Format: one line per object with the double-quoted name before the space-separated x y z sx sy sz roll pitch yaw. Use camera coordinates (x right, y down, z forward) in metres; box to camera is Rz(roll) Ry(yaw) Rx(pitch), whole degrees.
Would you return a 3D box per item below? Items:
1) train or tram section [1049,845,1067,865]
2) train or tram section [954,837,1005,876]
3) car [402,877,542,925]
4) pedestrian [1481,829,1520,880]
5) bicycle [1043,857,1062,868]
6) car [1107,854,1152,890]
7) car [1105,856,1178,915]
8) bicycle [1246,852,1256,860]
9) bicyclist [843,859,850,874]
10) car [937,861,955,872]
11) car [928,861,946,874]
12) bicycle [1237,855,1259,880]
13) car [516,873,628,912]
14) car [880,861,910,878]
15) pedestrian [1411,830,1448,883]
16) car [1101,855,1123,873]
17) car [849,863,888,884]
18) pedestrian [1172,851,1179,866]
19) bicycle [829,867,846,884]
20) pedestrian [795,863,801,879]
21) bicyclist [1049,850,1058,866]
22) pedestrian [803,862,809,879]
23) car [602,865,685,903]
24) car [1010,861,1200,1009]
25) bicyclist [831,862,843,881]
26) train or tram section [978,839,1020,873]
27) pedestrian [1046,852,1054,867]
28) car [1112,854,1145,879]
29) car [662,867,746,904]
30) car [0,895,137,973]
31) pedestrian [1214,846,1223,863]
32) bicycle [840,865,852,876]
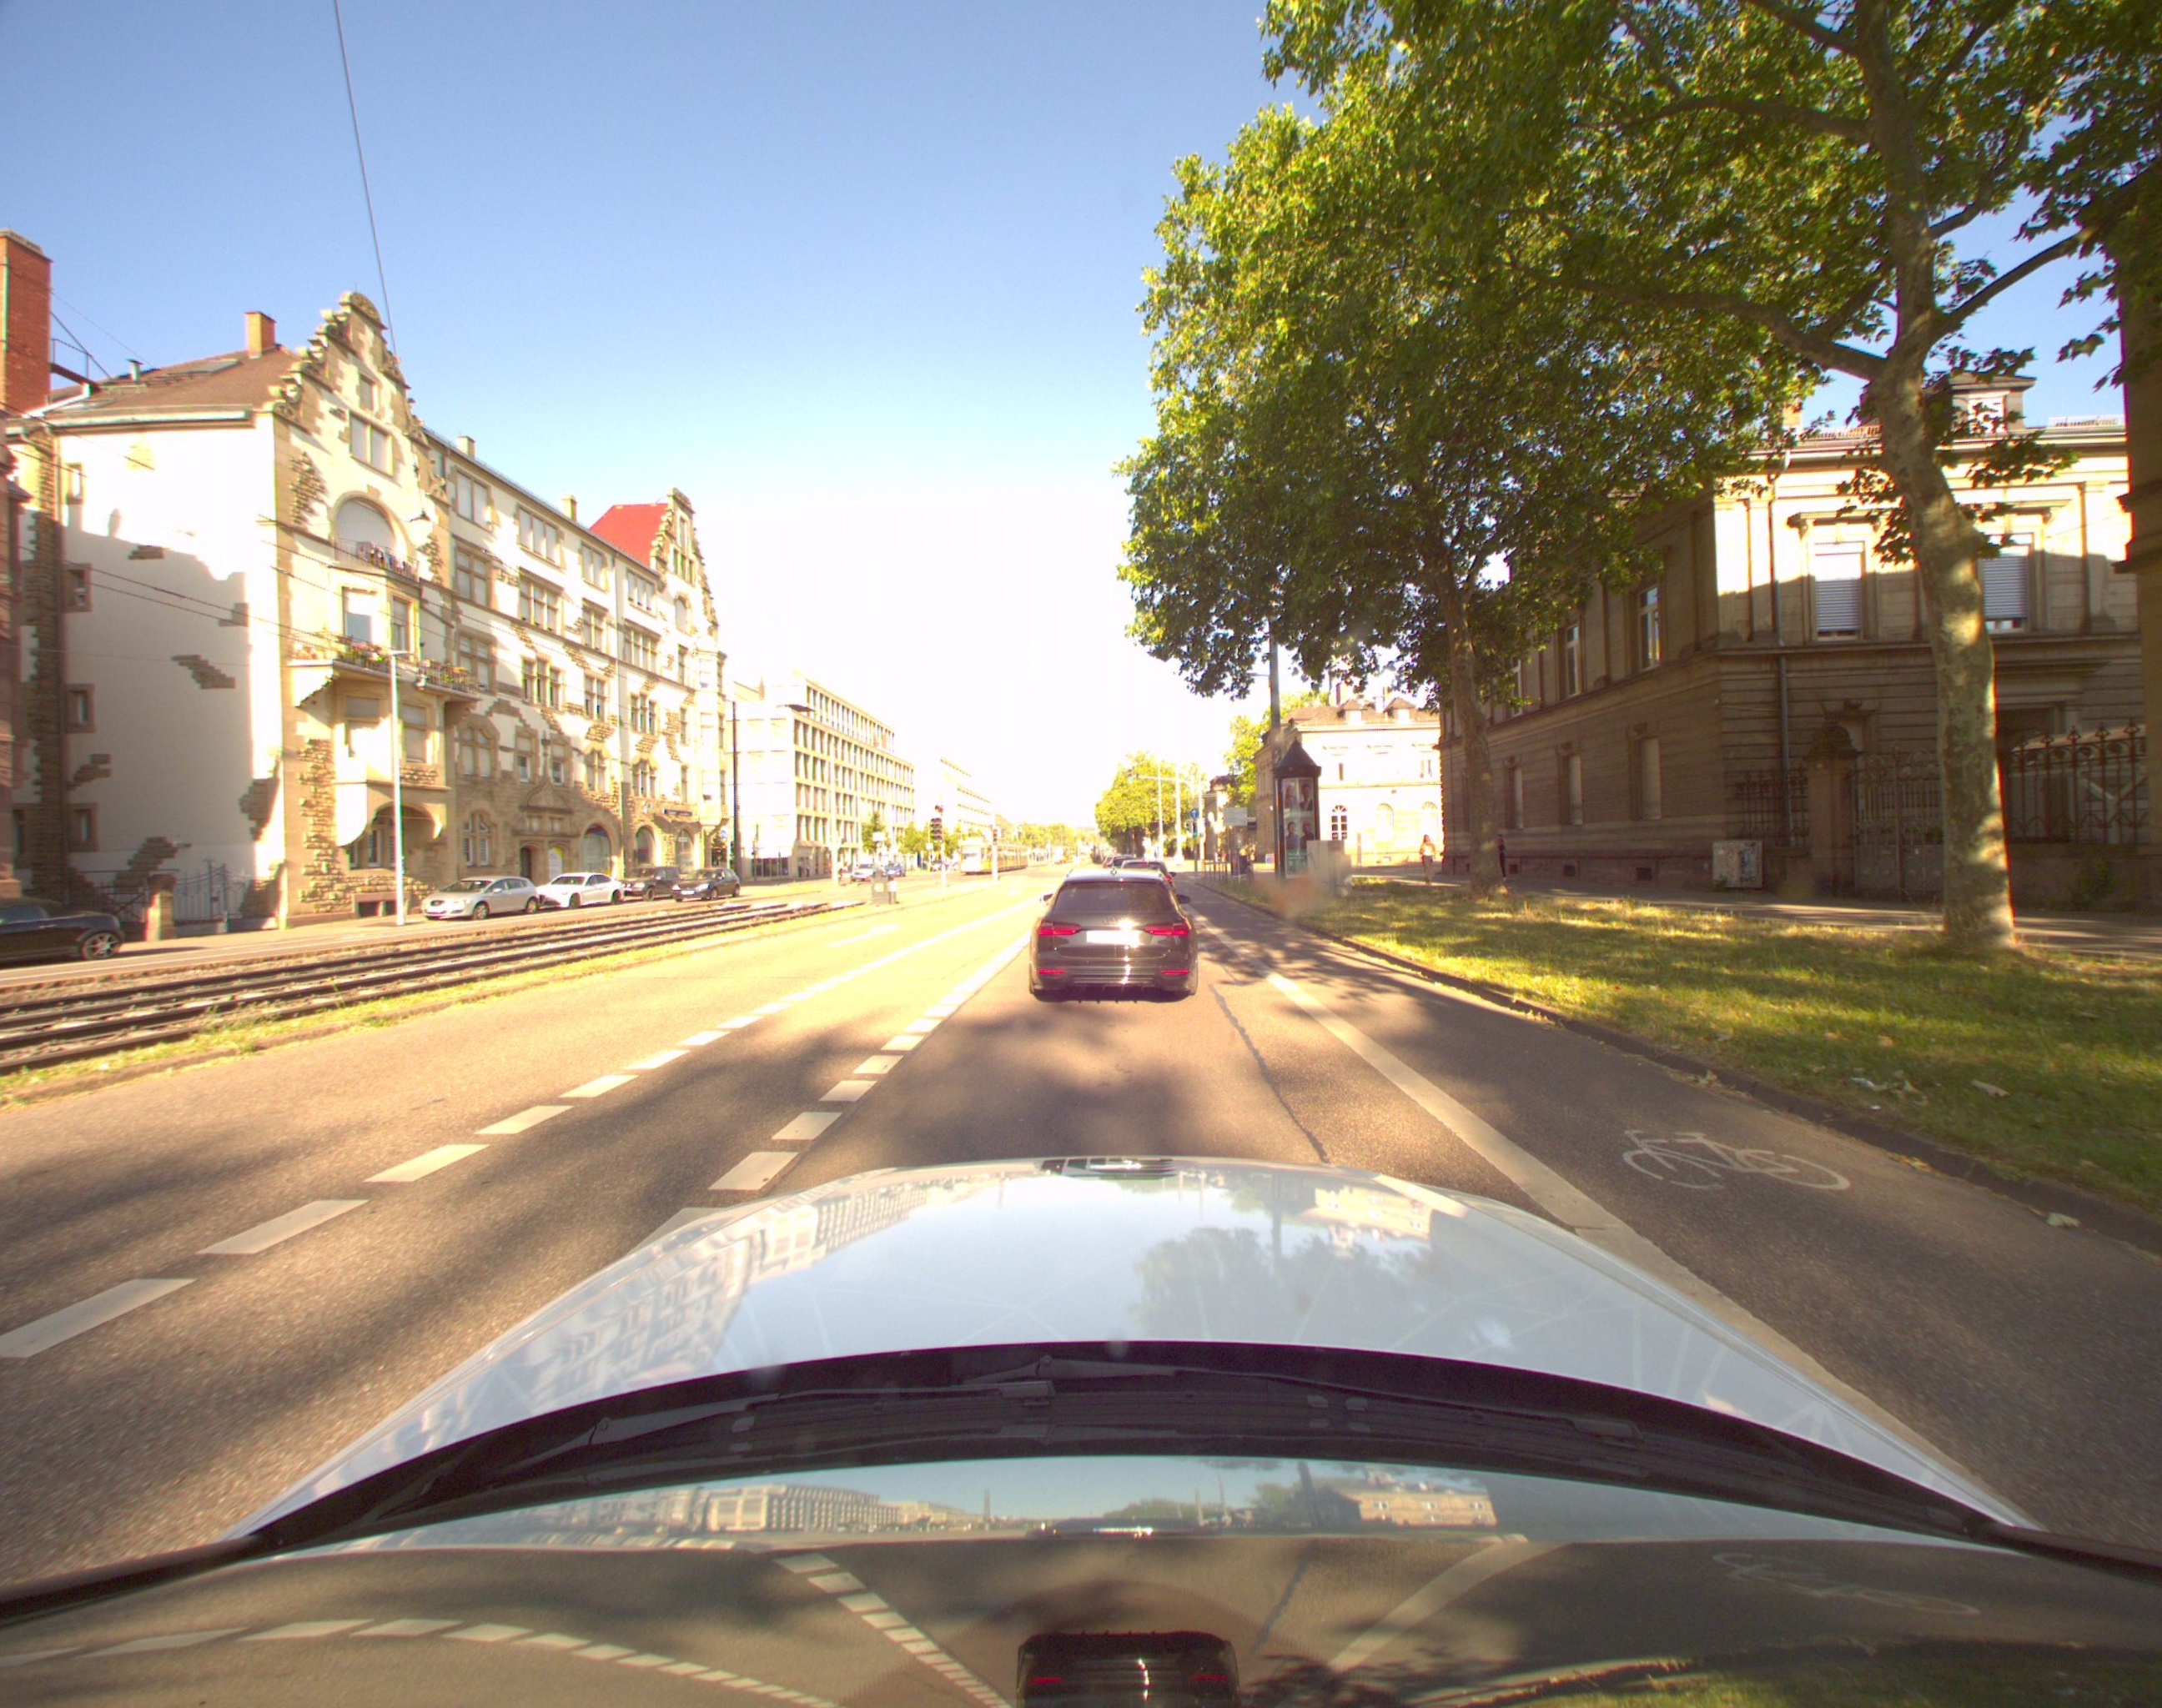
"train or tram section" -4.144 0.117 147.988 2.600 3.451 11.132 -2 0 1
"train or tram section" -9.824 0.225 80.502 2.802 3.489 13.211 -2 0 2
"car" -21.225 1.576 28.628 1.704 1.431 4.222 0 0 0
"pedestrian" 13.803 0.024 26.805 0.766 1.606 0.987 -2 0 4
"bicycle" -3.354 0.981 95.200 2.010 1.108 0.760 -2 0 -17
"car" 2.146 0.772 36.489 1.895 1.486 4.147 -1 0 3
"car" 1.690 0.835 23.625 1.895 1.486 4.147 -1 0 3
"bicycle" 21.546 0.240 103.090 0.525 1.047 2.354 -2 0 -6
"bicyclist" -27.594 1.447 95.763 0.573 1.686 0.644 -2 0 4
"car" -18.854 1.736 113.674 1.814 1.457 4.156 -2 0 0
"car" -21.675 1.982 122.465 1.835 1.812 4.114 -2 0 1
"bicycle" 7.337 0.589 35.762 0.538 1.061 1.770 -2 0 -1
"car" -21.266 1.566 34.262 1.711 1.423 4.656 0 0 1
"car" -17.653 1.492 77.431 1.814 1.457 4.157 -2 0 1
"pedestrian" 11.633 0.078 27.199 0.766 1.709 1.043 -2 0 4
"car" 2.783 0.899 73.541 1.895 1.486 4.147 -1 0 3
"car" -17.015 1.528 65.360 1.813 1.457 4.541 -2 0 1
"pedestrian" 10.237 0.486 88.069 0.679 1.660 0.758 -2 0 0
"bicycle" -20.119 1.756 67.356 0.682 1.382 1.949 -2 0 4
"pedestrian" -31.566 1.883 90.900 0.475 1.843 0.438 -2 -1 -36
"bicyclist" -3.213 0.486 95.265 0.758 1.818 0.760 -2 0 -16
"pedestrian" -30.891 1.837 91.511 0.535 1.843 0.438 -2 -1 -36
"car" -21.135 1.426 39.551 1.711 1.675 4.217 0 0 1
"car" 0.338 0.845 10.332 1.895 1.421 4.147 -1 0 3
"bicyclist" -20.149 1.440 67.287 0.682 1.563 0.786 -2 0 3
"train or tram section" -9.282 0.226 93.713 2.802 3.489 13.211 -2 0 2
"pedestrian" -3.663 0.703 96.796 0.741 1.741 0.660 -2 0 -16
"car" 2.911 0.741 50.400 1.895 1.486 4.147 -1 0 3
"car" -16.947 1.358 36.820 1.814 1.457 4.165 -2 0 0
"car" -21.600 1.605 16.020 1.616 1.354 3.727 1 0 1
"pedestrian" 15.964 0.041 94.657 0.974 1.865 0.827 -2 0 4
"bicycle" -27.575 1.950 95.549 0.573 1.215 2.391 -2 0 4
